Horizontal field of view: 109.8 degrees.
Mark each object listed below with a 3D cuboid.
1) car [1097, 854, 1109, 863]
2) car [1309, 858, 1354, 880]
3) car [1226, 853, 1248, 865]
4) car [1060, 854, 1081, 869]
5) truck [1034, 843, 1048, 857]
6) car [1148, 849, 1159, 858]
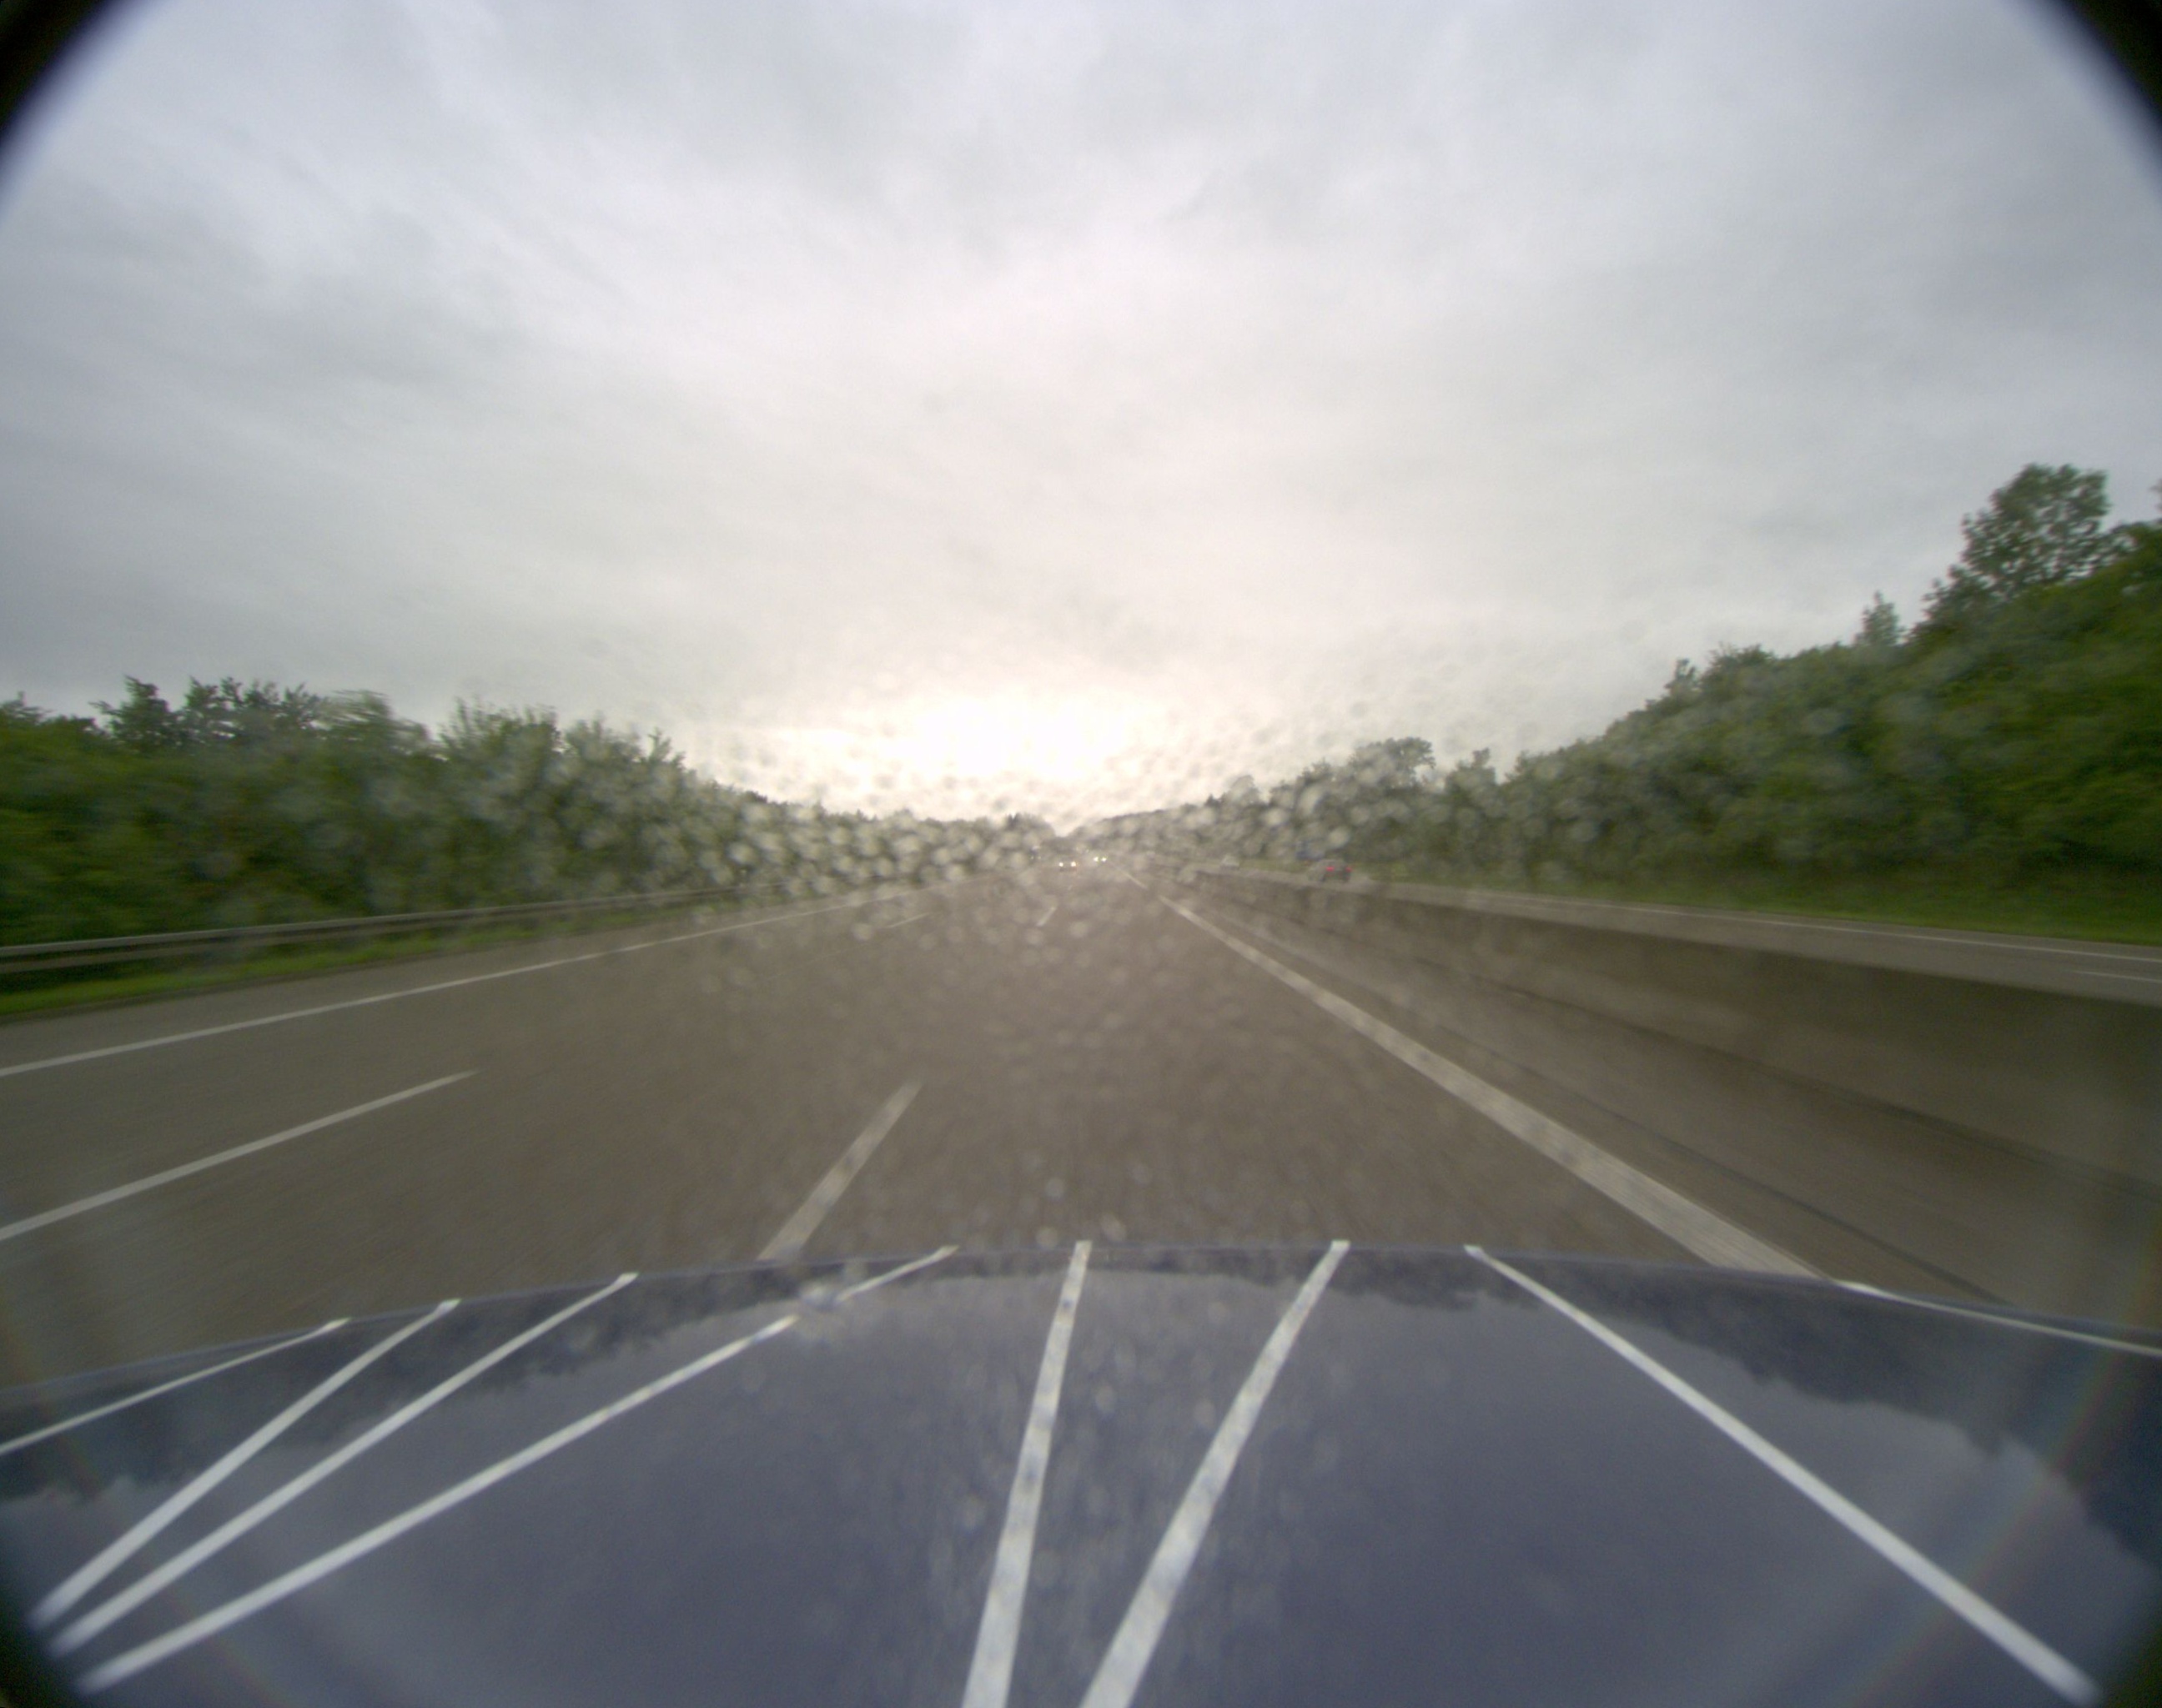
[{"bbox_3d":[3.861,0.787,134.403,2.009,1.455,4.000,0,1,3],"label":"car"},{"bbox_3d":[16.891,0.988,51.402,1.802,1.377,4.469,0,0,3],"label":"car"},{"bbox_3d":[19.117,0.641,93.309,1.802,1.441,4.629,1,0,1],"label":"car"},{"bbox_3d":[-1.077,0.769,78.352,1.932,1.521,4.298,0,0,1],"label":"car"},{"bbox_3d":[-11.651,-1.227,223.209,3.244,3.873,12.024,-1,1,1],"label":"truck"},{"bbox_3d":[17.509,-0.160,184.476,1.999,2.002,5.761,0,0,0],"label":"car"}]
